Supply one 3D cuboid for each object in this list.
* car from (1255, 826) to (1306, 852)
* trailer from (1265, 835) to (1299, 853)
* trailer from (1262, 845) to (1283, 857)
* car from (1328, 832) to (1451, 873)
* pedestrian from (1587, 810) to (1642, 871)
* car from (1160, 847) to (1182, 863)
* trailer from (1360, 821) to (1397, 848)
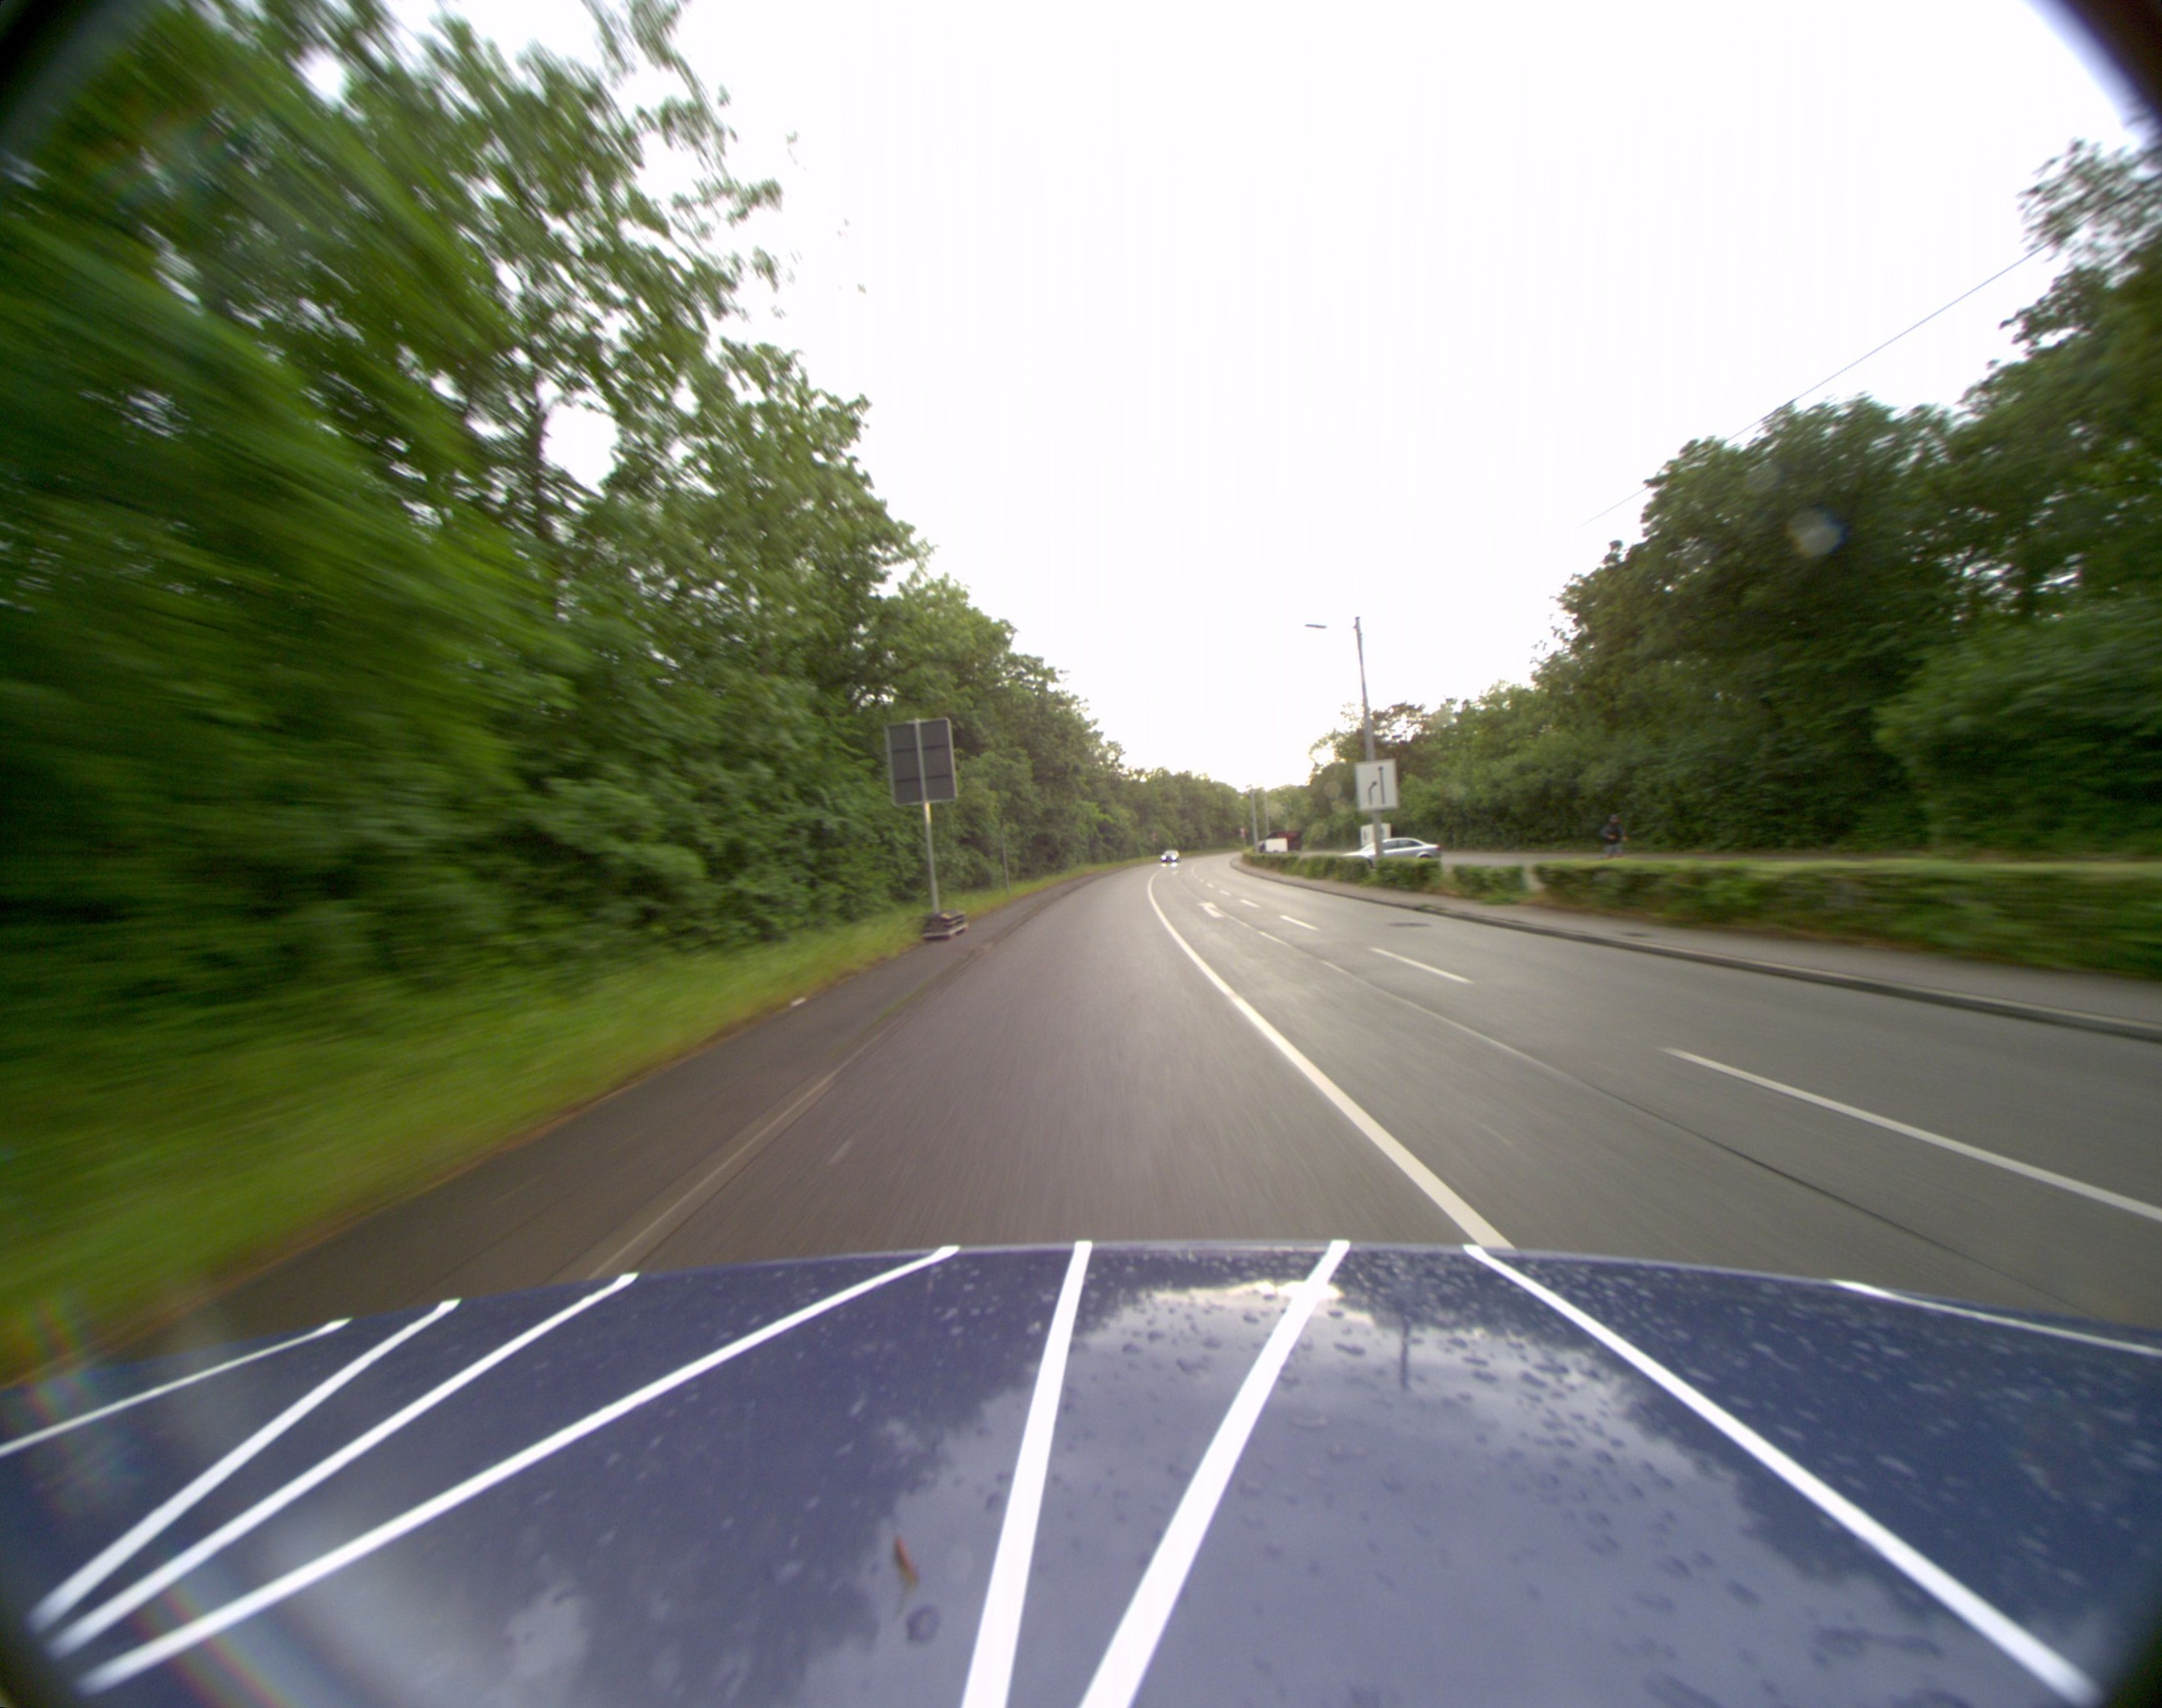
[{"bbox_3d":[26.174,-1.974,100.046,6.282,3.096,2.753,-3,2,12],"label":"car"},{"bbox_3d":[25.082,-1.263,94.726,3.993,2.041,1.874,-2,1,14],"label":"trailer"},{"bbox_3d":[18.901,-0.292,74.968,1.804,1.028,1.334,-3,1,8],"label":"trailer"},{"bbox_3d":[13.603,-0.072,33.689,4.587,1.497,2.000,-3,1,0],"label":"car"},{"bbox_3d":[16.417,-0.407,23.412,0.819,1.787,1.135,-3,1,-3],"label":"pedestrian"},{"bbox_3d":[10.502,0.048,88.301,1.996,1.674,4.003,-2,1,14],"label":"car"},{"bbox_3d":[33.950,-2.232,86.911,2.480,2.857,7.982,-2,1,11],"label":"trailer"}]
